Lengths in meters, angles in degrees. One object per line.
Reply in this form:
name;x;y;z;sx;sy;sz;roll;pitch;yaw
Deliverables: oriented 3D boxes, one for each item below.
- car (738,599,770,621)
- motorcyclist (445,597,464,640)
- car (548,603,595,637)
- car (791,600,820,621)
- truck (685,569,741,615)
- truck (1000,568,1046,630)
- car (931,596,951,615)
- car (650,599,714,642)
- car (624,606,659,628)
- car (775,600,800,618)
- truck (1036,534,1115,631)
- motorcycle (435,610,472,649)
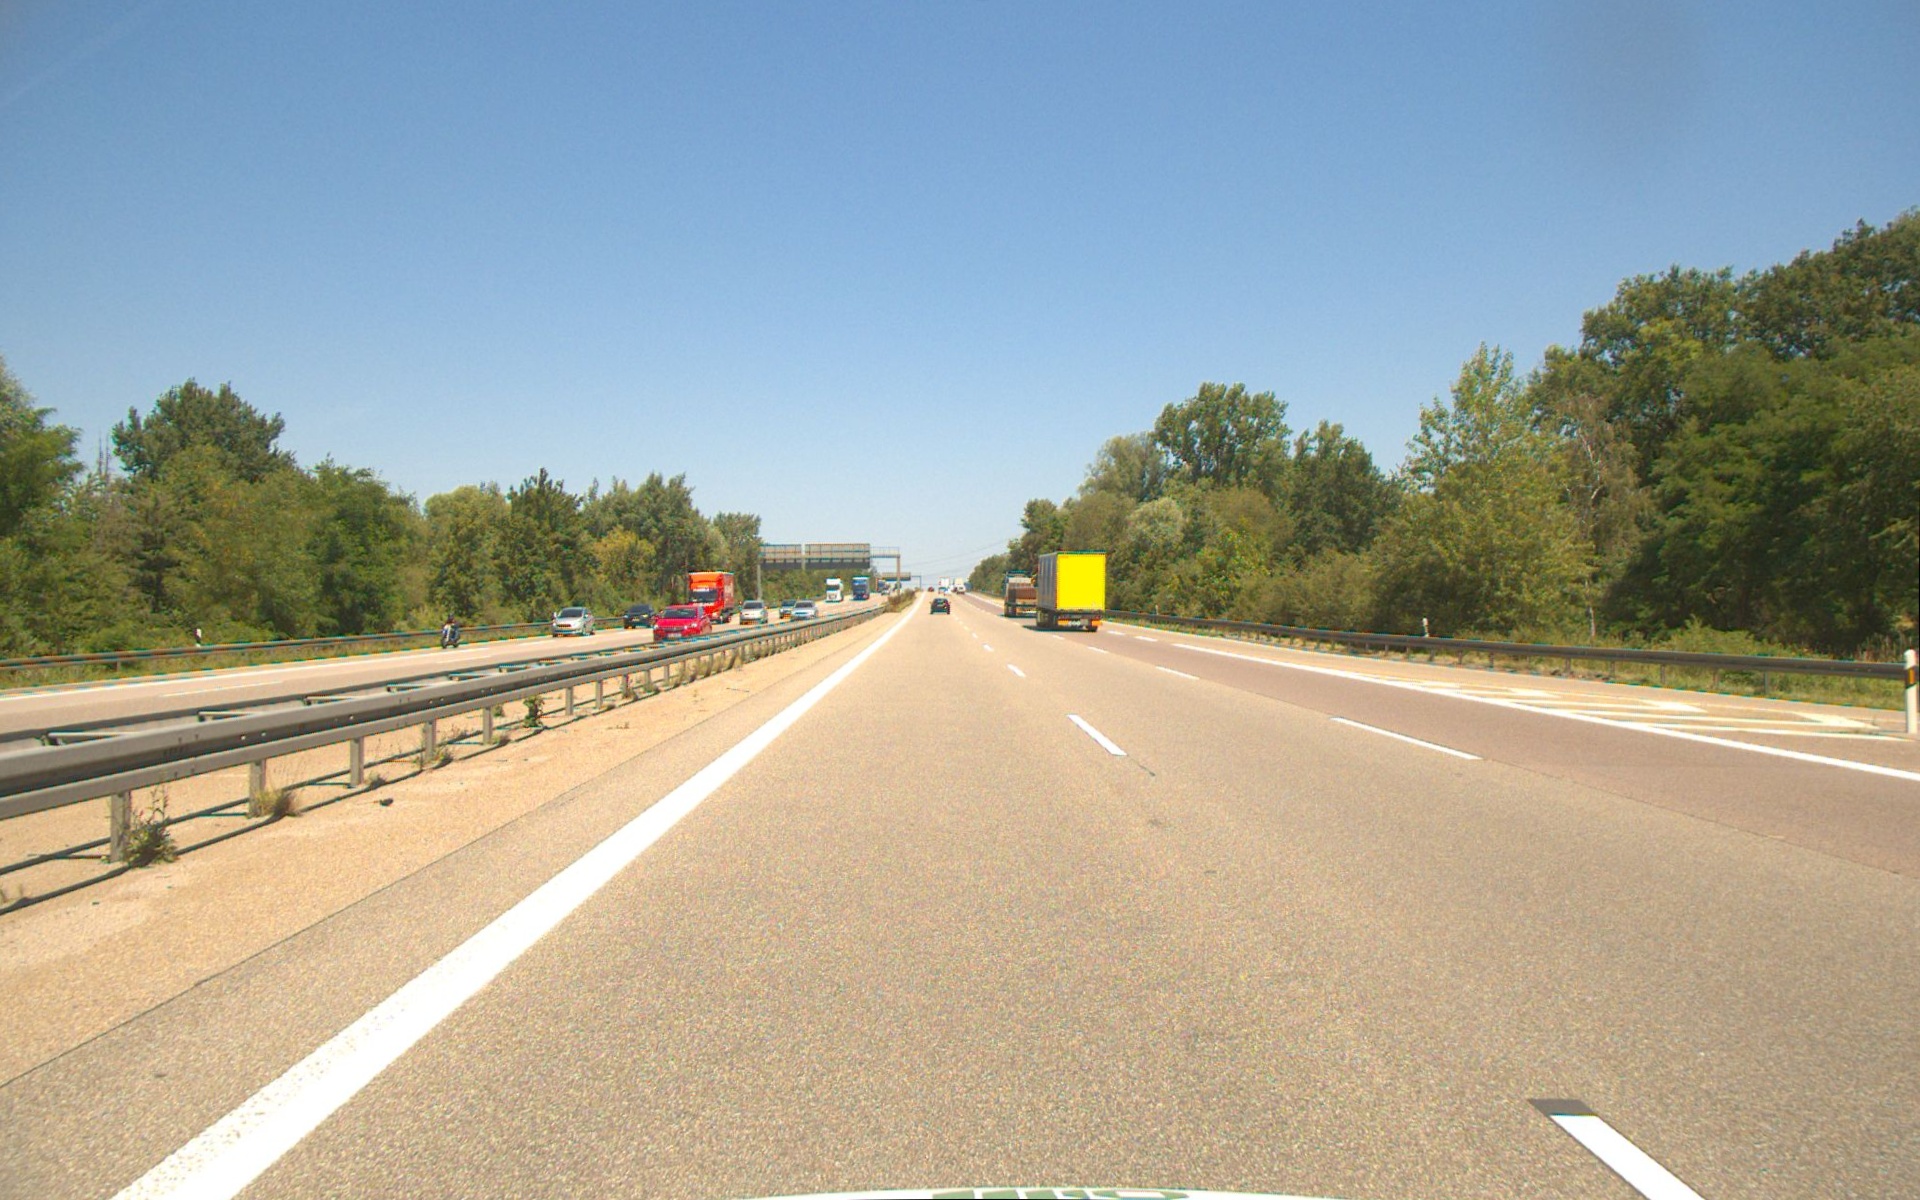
car;-14.521;0.713;116.846;1.772;1.530;3.999;-1;0;-1
motorcyclist;-22.662;0.828;74.180;0.590;1.904;0.620;1;0;4
car;-21.819;1.111;93.018;1.772;1.803;3.999;-1;0;-1
car;-11.264;0.770;120.844;1.772;1.530;3.999;-1;0;-1
truck;-18.730;-0.570;126.039;2.545;3.268;12.122;1;0;-1
truck;5.356;-0.065;142.959;3.298;4.966;15.084;1;0;0
car;-1.770;0.486;151.950;1.790;1.736;3.999;1;0;-1
car;-10.327;0.750;61.637;1.772;1.530;3.999;-1;0;-1
car;-22.555;1.203;117.190;1.772;1.530;3.999;-1;0;-1
car;-14.921;0.777;143.117;1.772;1.530;3.999;-1;0;-1
truck;6.291;-0.879;92.685;3.308;4.966;15.084;1;0;0
motorcycle;-22.669;1.309;74.038;0.602;1.668;2.838;1;0;3
